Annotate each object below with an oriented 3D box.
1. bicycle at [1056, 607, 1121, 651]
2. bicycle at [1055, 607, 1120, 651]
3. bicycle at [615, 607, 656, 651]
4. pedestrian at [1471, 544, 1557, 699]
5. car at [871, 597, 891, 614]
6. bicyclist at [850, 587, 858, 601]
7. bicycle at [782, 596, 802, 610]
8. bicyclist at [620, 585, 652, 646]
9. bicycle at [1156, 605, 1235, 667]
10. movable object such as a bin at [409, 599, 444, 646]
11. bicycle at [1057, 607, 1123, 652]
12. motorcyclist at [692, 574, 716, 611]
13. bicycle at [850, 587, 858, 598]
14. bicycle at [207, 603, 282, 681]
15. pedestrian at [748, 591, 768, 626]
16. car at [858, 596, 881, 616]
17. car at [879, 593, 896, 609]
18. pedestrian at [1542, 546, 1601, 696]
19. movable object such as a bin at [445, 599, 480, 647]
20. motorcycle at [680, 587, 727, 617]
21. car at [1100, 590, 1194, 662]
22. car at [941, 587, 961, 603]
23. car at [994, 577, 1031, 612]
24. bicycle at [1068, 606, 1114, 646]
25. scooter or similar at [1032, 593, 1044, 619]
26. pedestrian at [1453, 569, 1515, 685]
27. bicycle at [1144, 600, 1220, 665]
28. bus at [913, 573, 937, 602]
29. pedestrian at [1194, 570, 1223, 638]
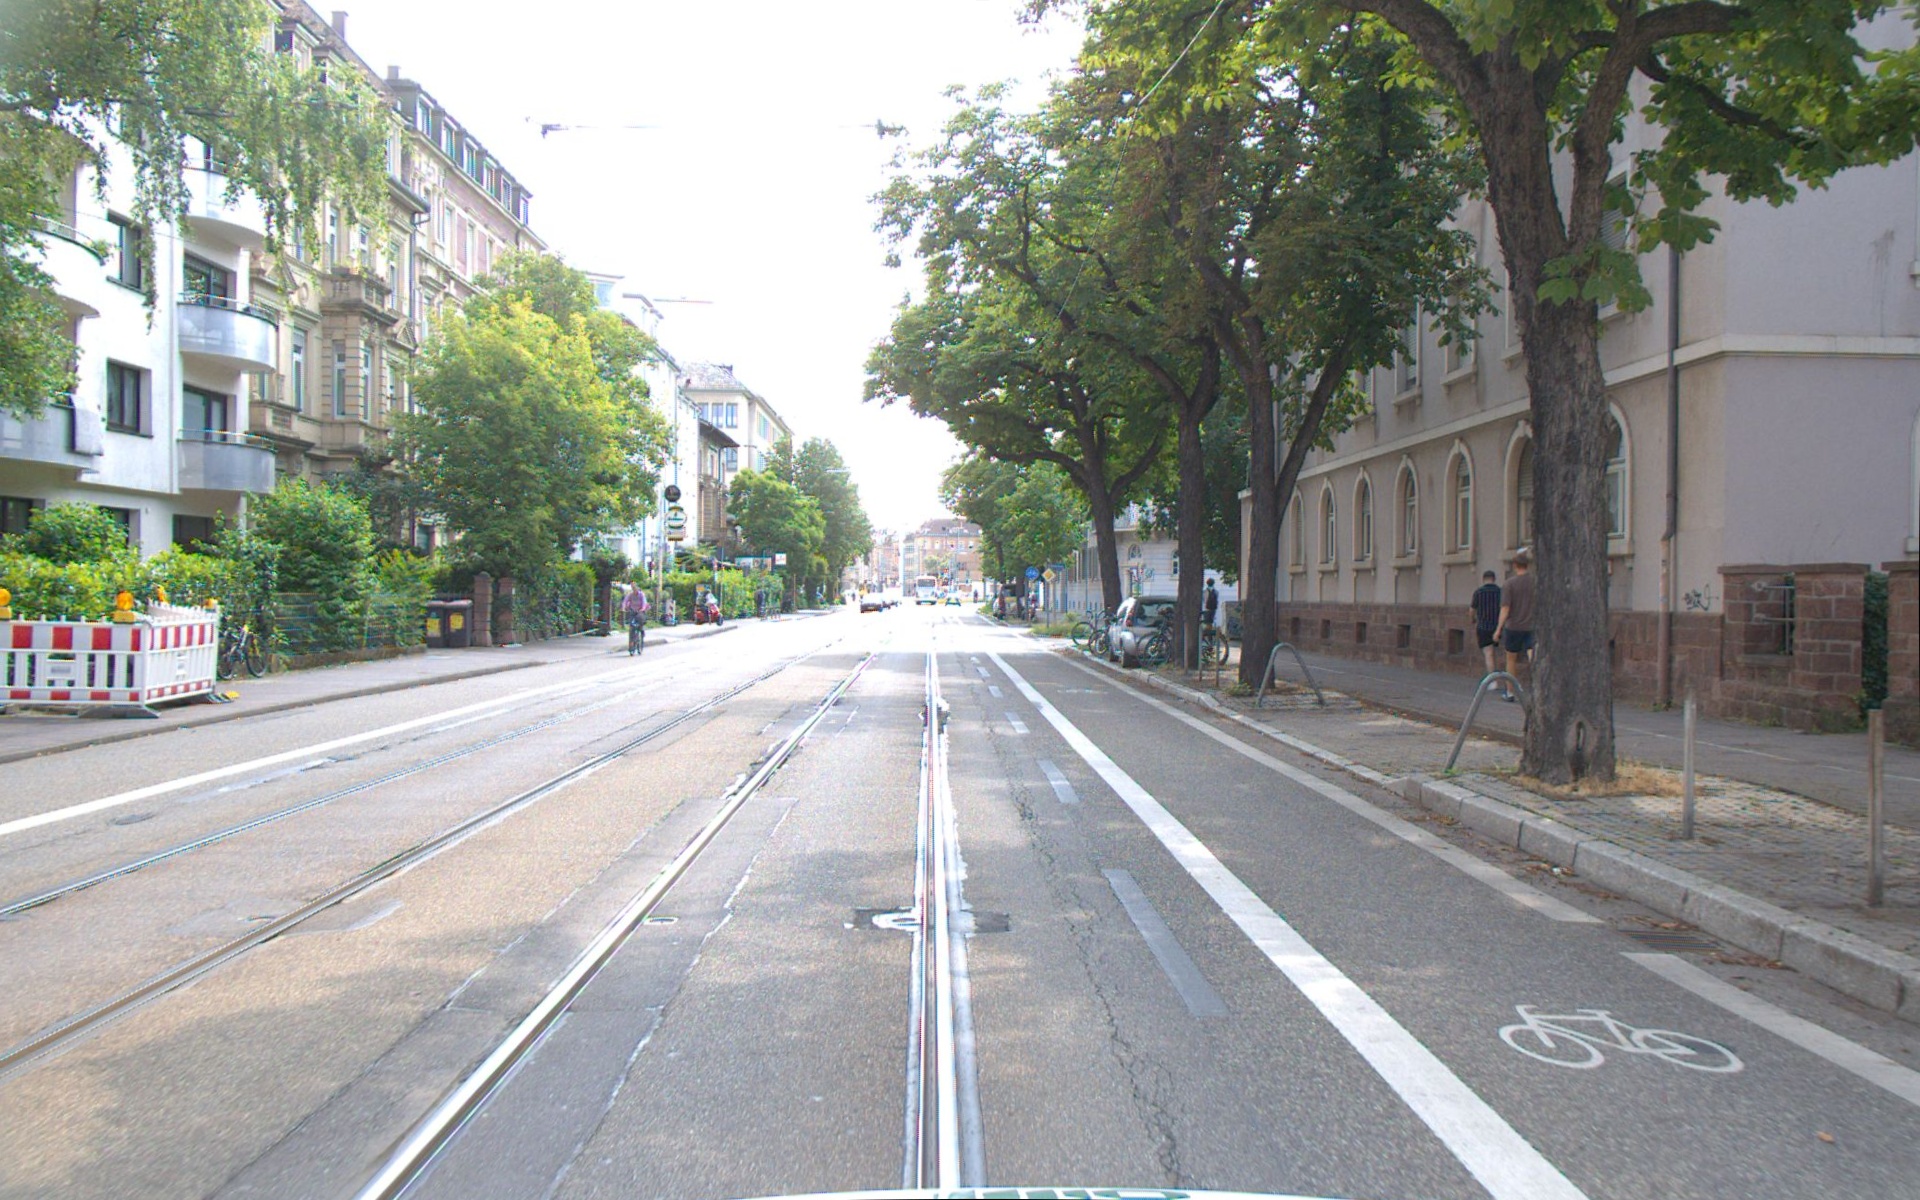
[{"bbox_3d":[3.180,0.712,40.966,1.612,1.089,0.348,0,0,2],"label":"bicycle"},{"bbox_3d":[3.187,0.717,41.403,1.612,1.089,0.348,0,0,2],"label":"bicycle"},{"bbox_3d":[-7.793,0.693,39.774,0.557,1.007,1.918,0,0,1],"label":"bicycle"},{"bbox_3d":[7.103,0.270,21.246,0.738,1.922,0.886,-2,0,-1],"label":"pedestrian"},{"bbox_3d":[-6.854,0.452,144.425,1.595,1.431,4.128,0,0,-1],"label":"car"},{"bbox_3d":[-11.926,-0.642,186.189,0.587,1.518,0.882,-5,0,2],"label":"bicyclist"},{"bbox_3d":[-12.107,0.221,119.069,1.119,0.924,2.988,3,0,-1],"label":"bicycle"},{"bbox_3d":[-7.794,0.370,39.814,0.553,1.450,0.942,0,0,1],"label":"bicyclist"},{"bbox_3d":[4.487,0.682,31.584,1.456,1.173,0.518,0,0,5],"label":"bicycle"},{"bbox_3d":[-12.775,0.536,39.623,0.654,1.127,0.733,0,0,-5],"label":"movable object such as a bin"},{"bbox_3d":[3.186,0.715,40.597,1.613,1.089,0.348,0,0,2],"label":"bicycle"},{"bbox_3d":[-11.936,-0.352,77.207,0.898,1.744,0.742,0,0,9],"label":"motorcyclist"},{"bbox_3d":[-11.941,-0.827,186.239,0.590,1.116,2.023,-5,1,2],"label":"bicycle"},{"bbox_3d":[-11.092,0.629,25.679,0.403,1.157,1.819,0,0,-1],"label":"bicycle"},{"bbox_3d":[-11.402,0.459,93.384,1.038,1.951,0.829,0,0,-4],"label":"pedestrian"},{"bbox_3d":[-7.067,0.479,129.492,1.562,1.465,3.936,-1,0,1],"label":"car"},{"bbox_3d":[-7.264,0.123,166.214,1.692,1.567,4.275,-1,0,-2],"label":"car"},{"bbox_3d":[7.838,0.260,21.216,0.494,1.885,0.687,0,0,-1],"label":"pedestrian"},{"bbox_3d":[-11.905,0.538,39.588,0.654,1.127,0.733,0,0,-5],"label":"movable object such as a bin"},{"bbox_3d":[-11.957,0.092,77.209,2.037,1.384,0.742,0,0,9],"label":"motorcycle"},{"bbox_3d":[4.051,0.531,36.300,1.553,1.470,3.897,0,0,-1],"label":"car"},{"bbox_3d":[-1.022,-0.562,183.663,2.087,1.713,4.101,1,1,-2],"label":"car"},{"bbox_3d":[3.001,-0.322,94.951,1.857,1.975,4.949,0,0,-1],"label":"car"},{"bbox_3d":[3.635,0.711,45.870,1.242,1.085,0.478,0,0,-2],"label":"bicycle"},{"bbox_3d":[3.898,0.295,82.725,0.521,1.273,1.720,-1,0,0],"label":"scooter or similar"},{"bbox_3d":[7.668,0.383,24.226,0.569,1.668,0.975,0,0,-1],"label":"pedestrian"},{"bbox_3d":[4.314,0.632,32.192,1.456,1.242,0.518,0,-1,5],"label":"bicycle"},{"bbox_3d":[-4.301,-1.463,202.165,2.859,3.386,12.202,1,0,-2],"label":"bus"},{"bbox_3d":[6.904,0.095,46.036,0.605,1.866,1.030,0,0,-2],"label":"pedestrian"}]
